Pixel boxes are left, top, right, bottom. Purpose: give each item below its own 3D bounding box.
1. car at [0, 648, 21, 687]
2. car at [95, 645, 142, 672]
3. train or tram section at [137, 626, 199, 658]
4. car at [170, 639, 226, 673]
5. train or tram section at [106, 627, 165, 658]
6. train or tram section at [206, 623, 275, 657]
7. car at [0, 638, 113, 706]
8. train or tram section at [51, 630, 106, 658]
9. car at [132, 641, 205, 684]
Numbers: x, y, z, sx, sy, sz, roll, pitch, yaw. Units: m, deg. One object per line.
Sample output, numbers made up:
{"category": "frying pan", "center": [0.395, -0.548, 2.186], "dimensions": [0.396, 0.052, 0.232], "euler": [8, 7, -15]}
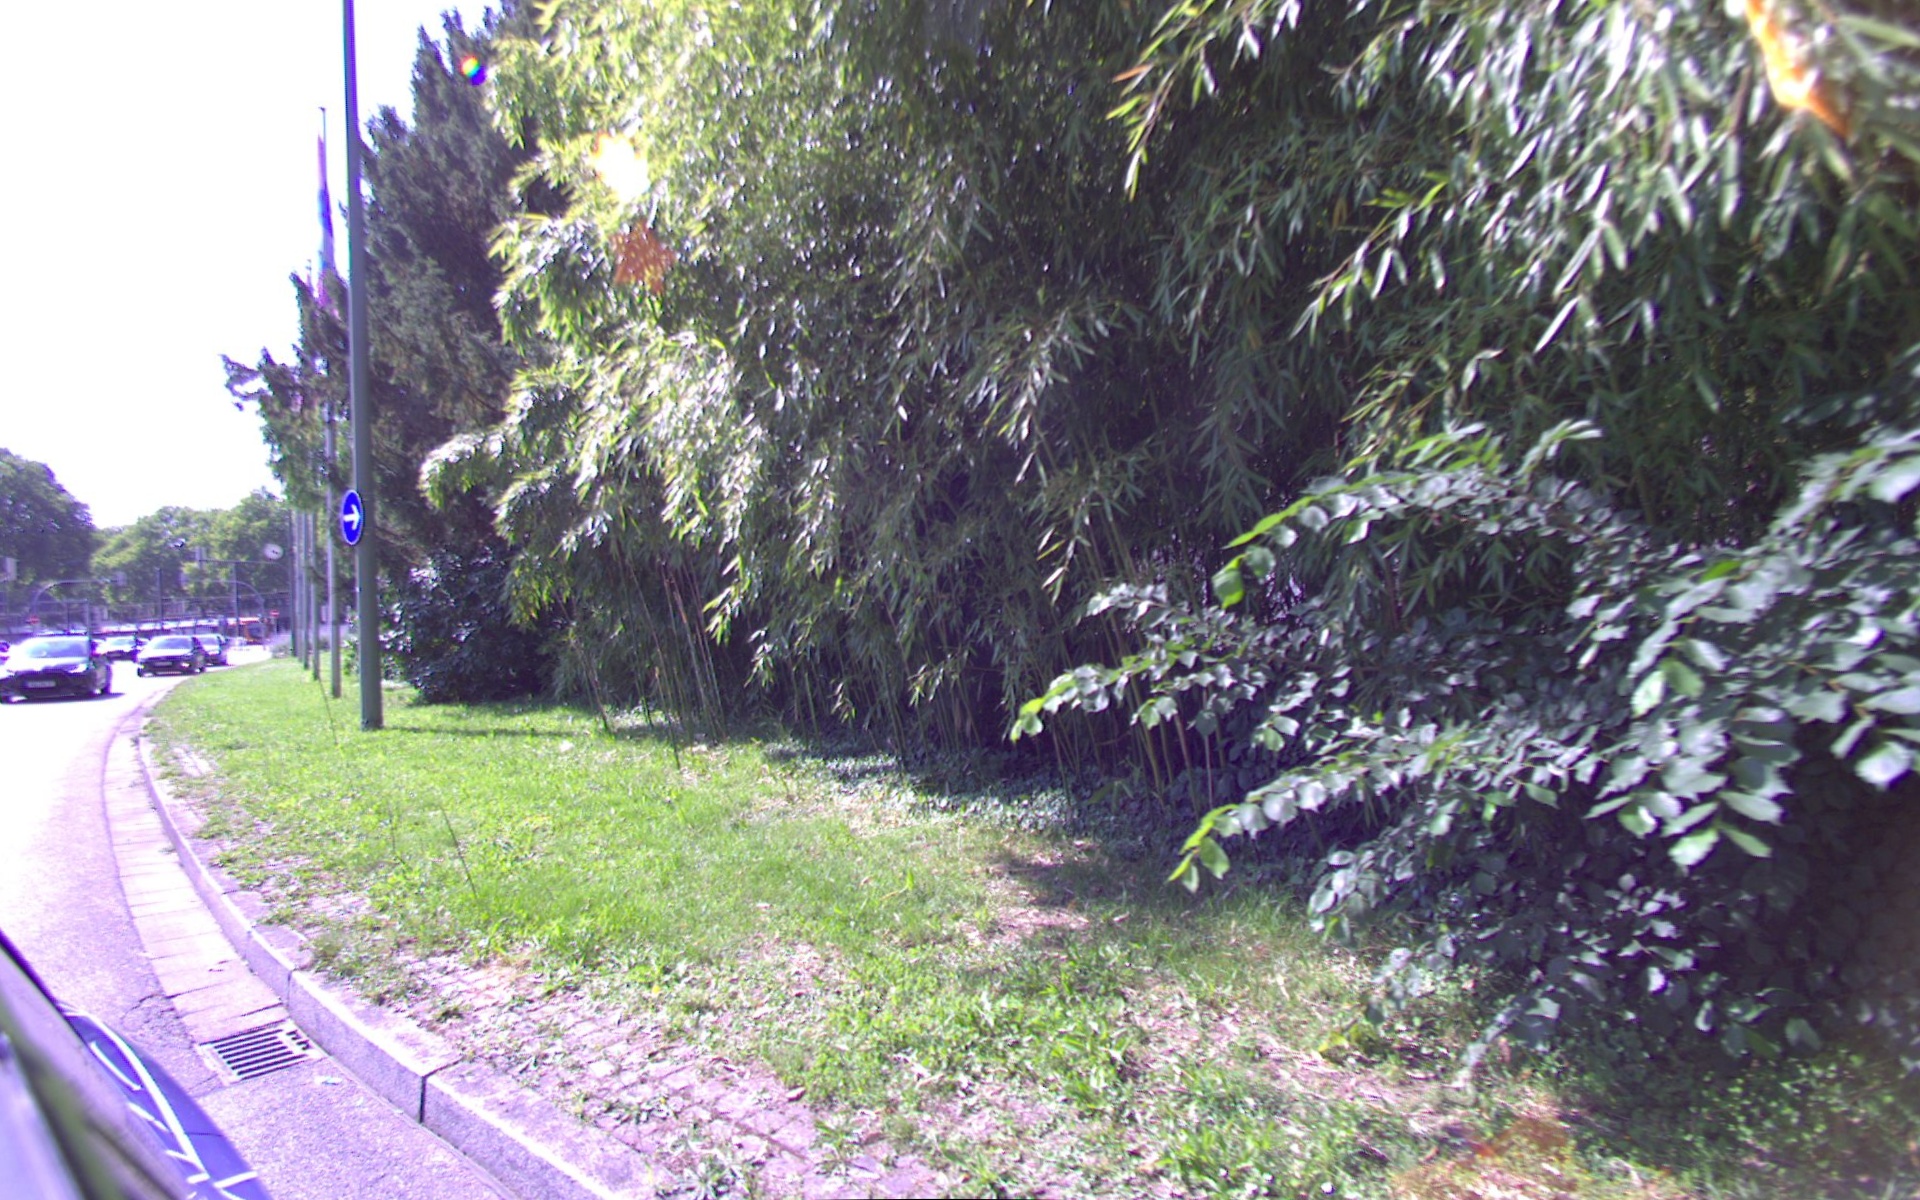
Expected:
{"category": "car", "center": [-40.132, 2.788, 41.570], "dimensions": [1.763, 1.524, 4.290], "euler": [0, -2, -36]}
{"category": "car", "center": [-49.278, 3.409, 59.355], "dimensions": [1.762, 1.471, 4.098], "euler": [0, -2, -35]}
{"category": "train or tram section", "center": [-92.100, 4.876, 117.596], "dimensions": [8.705, 3.292, 2.706], "euler": [-3, -1, 31]}
{"category": "car", "center": [-35.280, 2.562, 46.943], "dimensions": [1.762, 1.481, 4.099], "euler": [0, -2, -33]}
{"category": "train or tram section", "center": [-99.527, 5.151, 122.149], "dimensions": [8.705, 3.292, 2.706], "euler": [-3, -1, 31]}
{"category": "train or tram section", "center": [-77.246, 4.327, 108.565], "dimensions": [8.705, 3.292, 2.706], "euler": [-3, -1, 31]}
{"category": "car", "center": [-21.931, 1.689, 24.480], "dimensions": [1.762, 1.463, 4.291], "euler": [0, -2, -34]}
{"category": "train or tram section", "center": [-114.406, 5.702, 131.304], "dimensions": [8.705, 3.292, 2.706], "euler": [-3, -1, 31]}
{"category": "car", "center": [-29.766, 2.312, 38.165], "dimensions": [1.762, 1.504, 4.099], "euler": [0, -2, -33]}
